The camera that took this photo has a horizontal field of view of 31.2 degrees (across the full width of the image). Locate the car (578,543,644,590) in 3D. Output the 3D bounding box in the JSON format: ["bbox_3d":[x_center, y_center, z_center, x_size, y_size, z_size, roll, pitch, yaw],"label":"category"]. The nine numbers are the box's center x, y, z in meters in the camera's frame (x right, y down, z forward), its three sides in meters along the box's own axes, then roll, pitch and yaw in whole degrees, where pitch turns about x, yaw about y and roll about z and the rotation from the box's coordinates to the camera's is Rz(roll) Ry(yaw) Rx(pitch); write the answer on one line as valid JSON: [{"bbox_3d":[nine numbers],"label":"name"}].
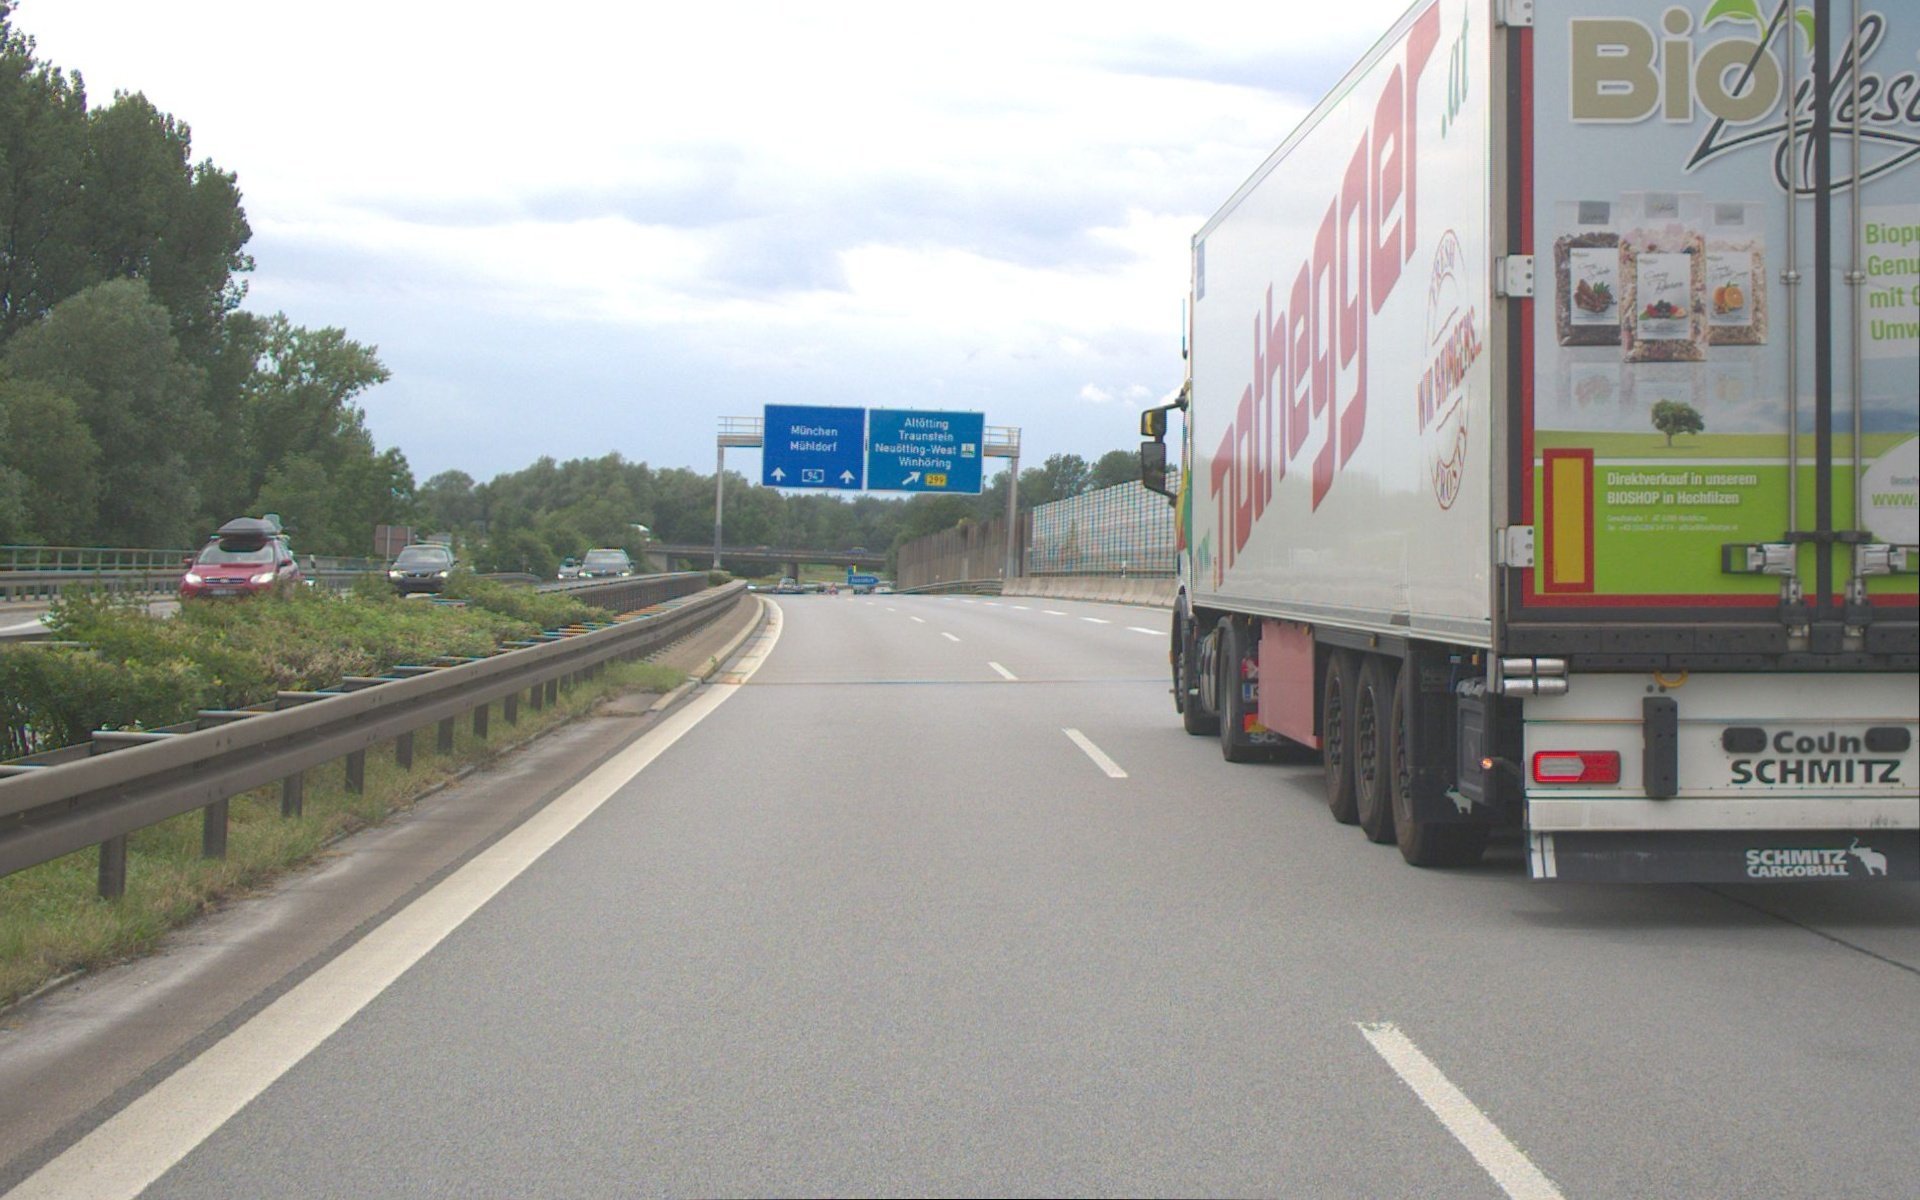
[{"bbox_3d":[-11.499,-1.113,113.526,1.841,1.525,4.836,0,1,-2],"label":"car"}]

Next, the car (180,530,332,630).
[{"bbox_3d":[-13.084,-0.392,64.159,1.969,1.755,4.945,1,1,-2],"label":"car"}]

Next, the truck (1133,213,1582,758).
[{"bbox_3d":[3.041,-0.866,27.900,2.756,3.946,5.678,0,1,-2],"label":"truck"}]

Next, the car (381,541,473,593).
[{"bbox_3d":[-14.556,-0.909,94.097,1.969,1.399,4.710,0,1,-2],"label":"car"}]

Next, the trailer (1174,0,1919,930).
[{"bbox_3d":[3.232,-0.900,20.323,2.792,4.160,14.104,0,1,-1],"label":"trailer"}]
